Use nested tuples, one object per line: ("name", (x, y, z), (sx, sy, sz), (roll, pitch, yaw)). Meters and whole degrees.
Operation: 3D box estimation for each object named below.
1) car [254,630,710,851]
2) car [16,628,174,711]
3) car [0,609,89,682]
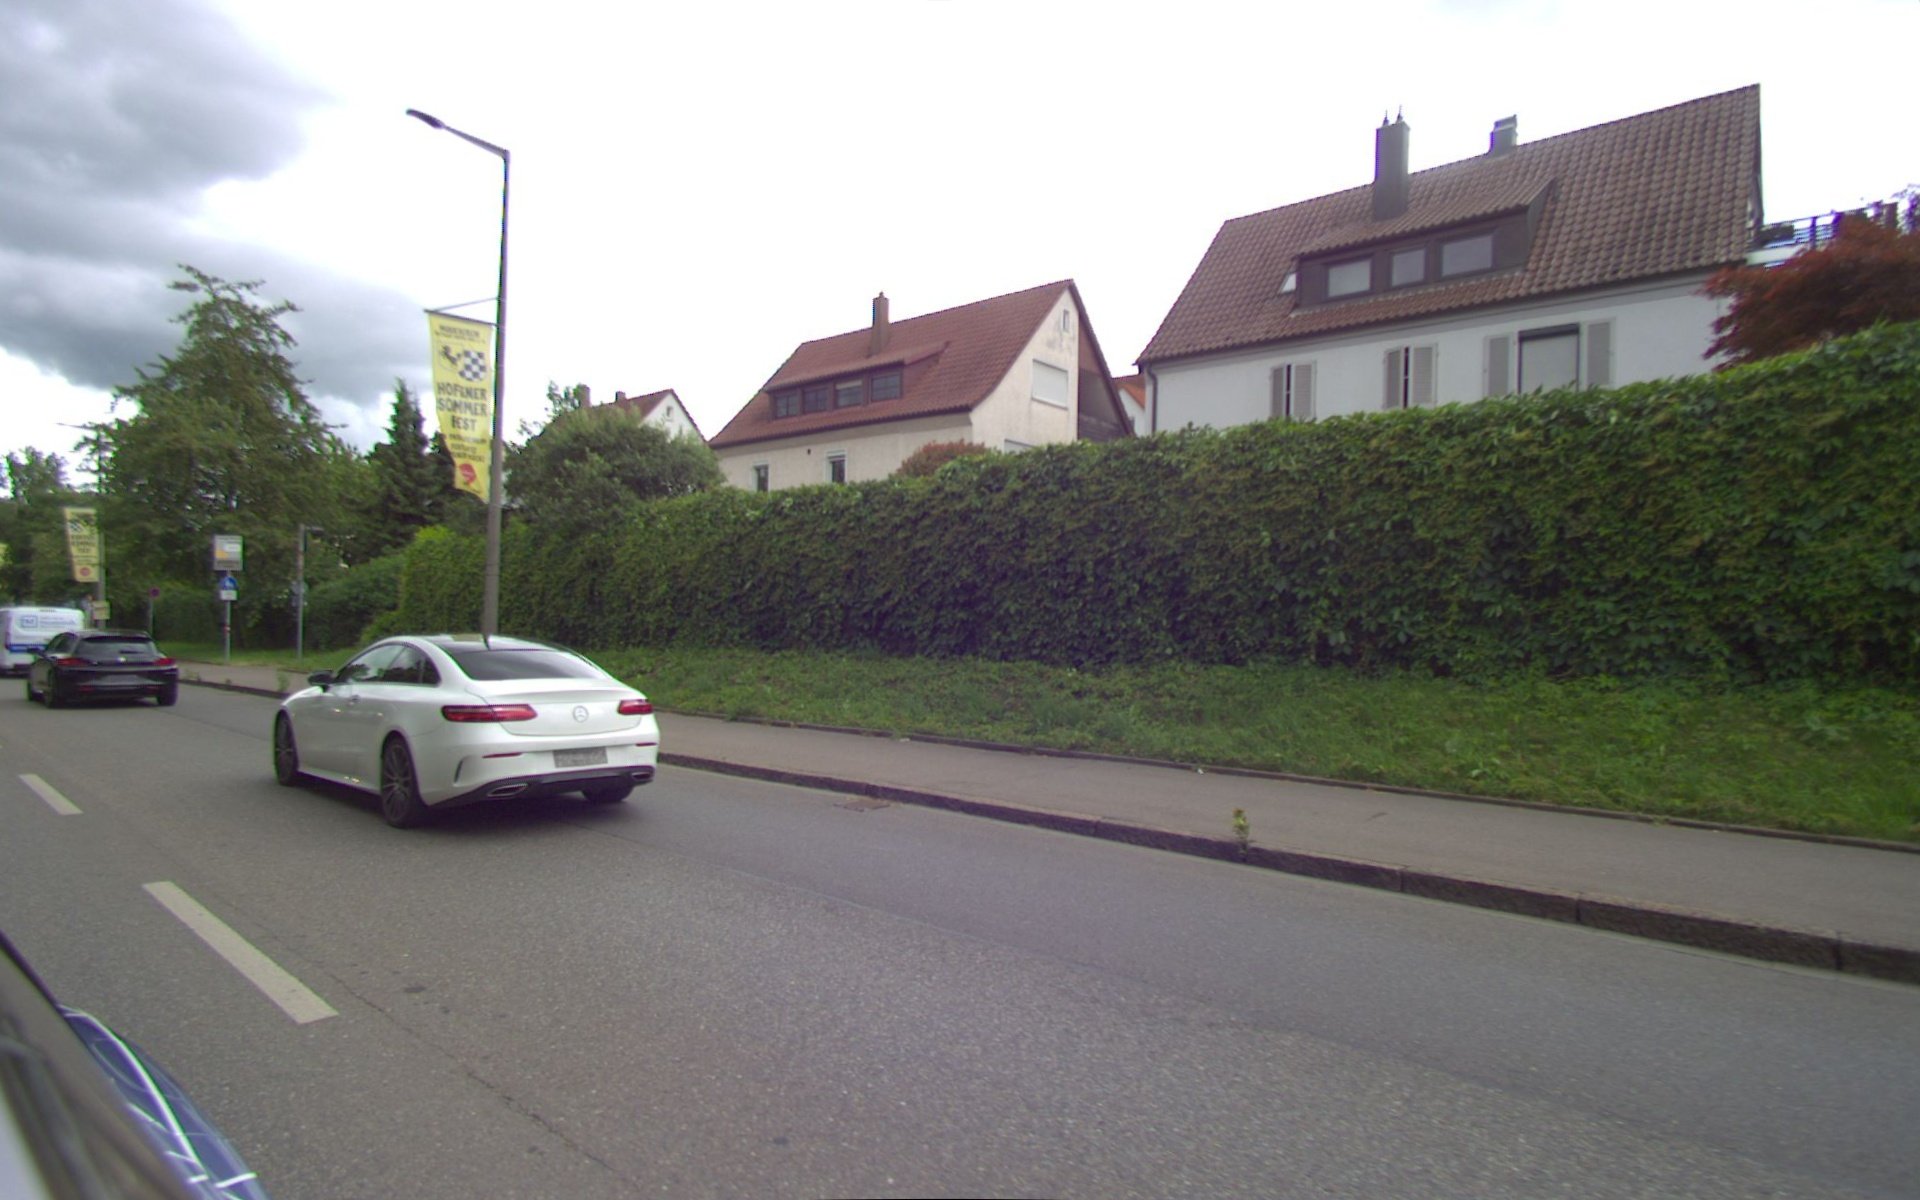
("car", (-4.276, 0.979, 8.708), (4.488, 1.394, 1.867), (-1, -3, 40))
("car", (-16.223, 1.223, 18.904), (4.476, 1.358, 1.633), (-1, -3, 42))
("car", (-26.861, 1.266, 29.229), (4.909, 1.947, 1.886), (-1, -2, 42))
